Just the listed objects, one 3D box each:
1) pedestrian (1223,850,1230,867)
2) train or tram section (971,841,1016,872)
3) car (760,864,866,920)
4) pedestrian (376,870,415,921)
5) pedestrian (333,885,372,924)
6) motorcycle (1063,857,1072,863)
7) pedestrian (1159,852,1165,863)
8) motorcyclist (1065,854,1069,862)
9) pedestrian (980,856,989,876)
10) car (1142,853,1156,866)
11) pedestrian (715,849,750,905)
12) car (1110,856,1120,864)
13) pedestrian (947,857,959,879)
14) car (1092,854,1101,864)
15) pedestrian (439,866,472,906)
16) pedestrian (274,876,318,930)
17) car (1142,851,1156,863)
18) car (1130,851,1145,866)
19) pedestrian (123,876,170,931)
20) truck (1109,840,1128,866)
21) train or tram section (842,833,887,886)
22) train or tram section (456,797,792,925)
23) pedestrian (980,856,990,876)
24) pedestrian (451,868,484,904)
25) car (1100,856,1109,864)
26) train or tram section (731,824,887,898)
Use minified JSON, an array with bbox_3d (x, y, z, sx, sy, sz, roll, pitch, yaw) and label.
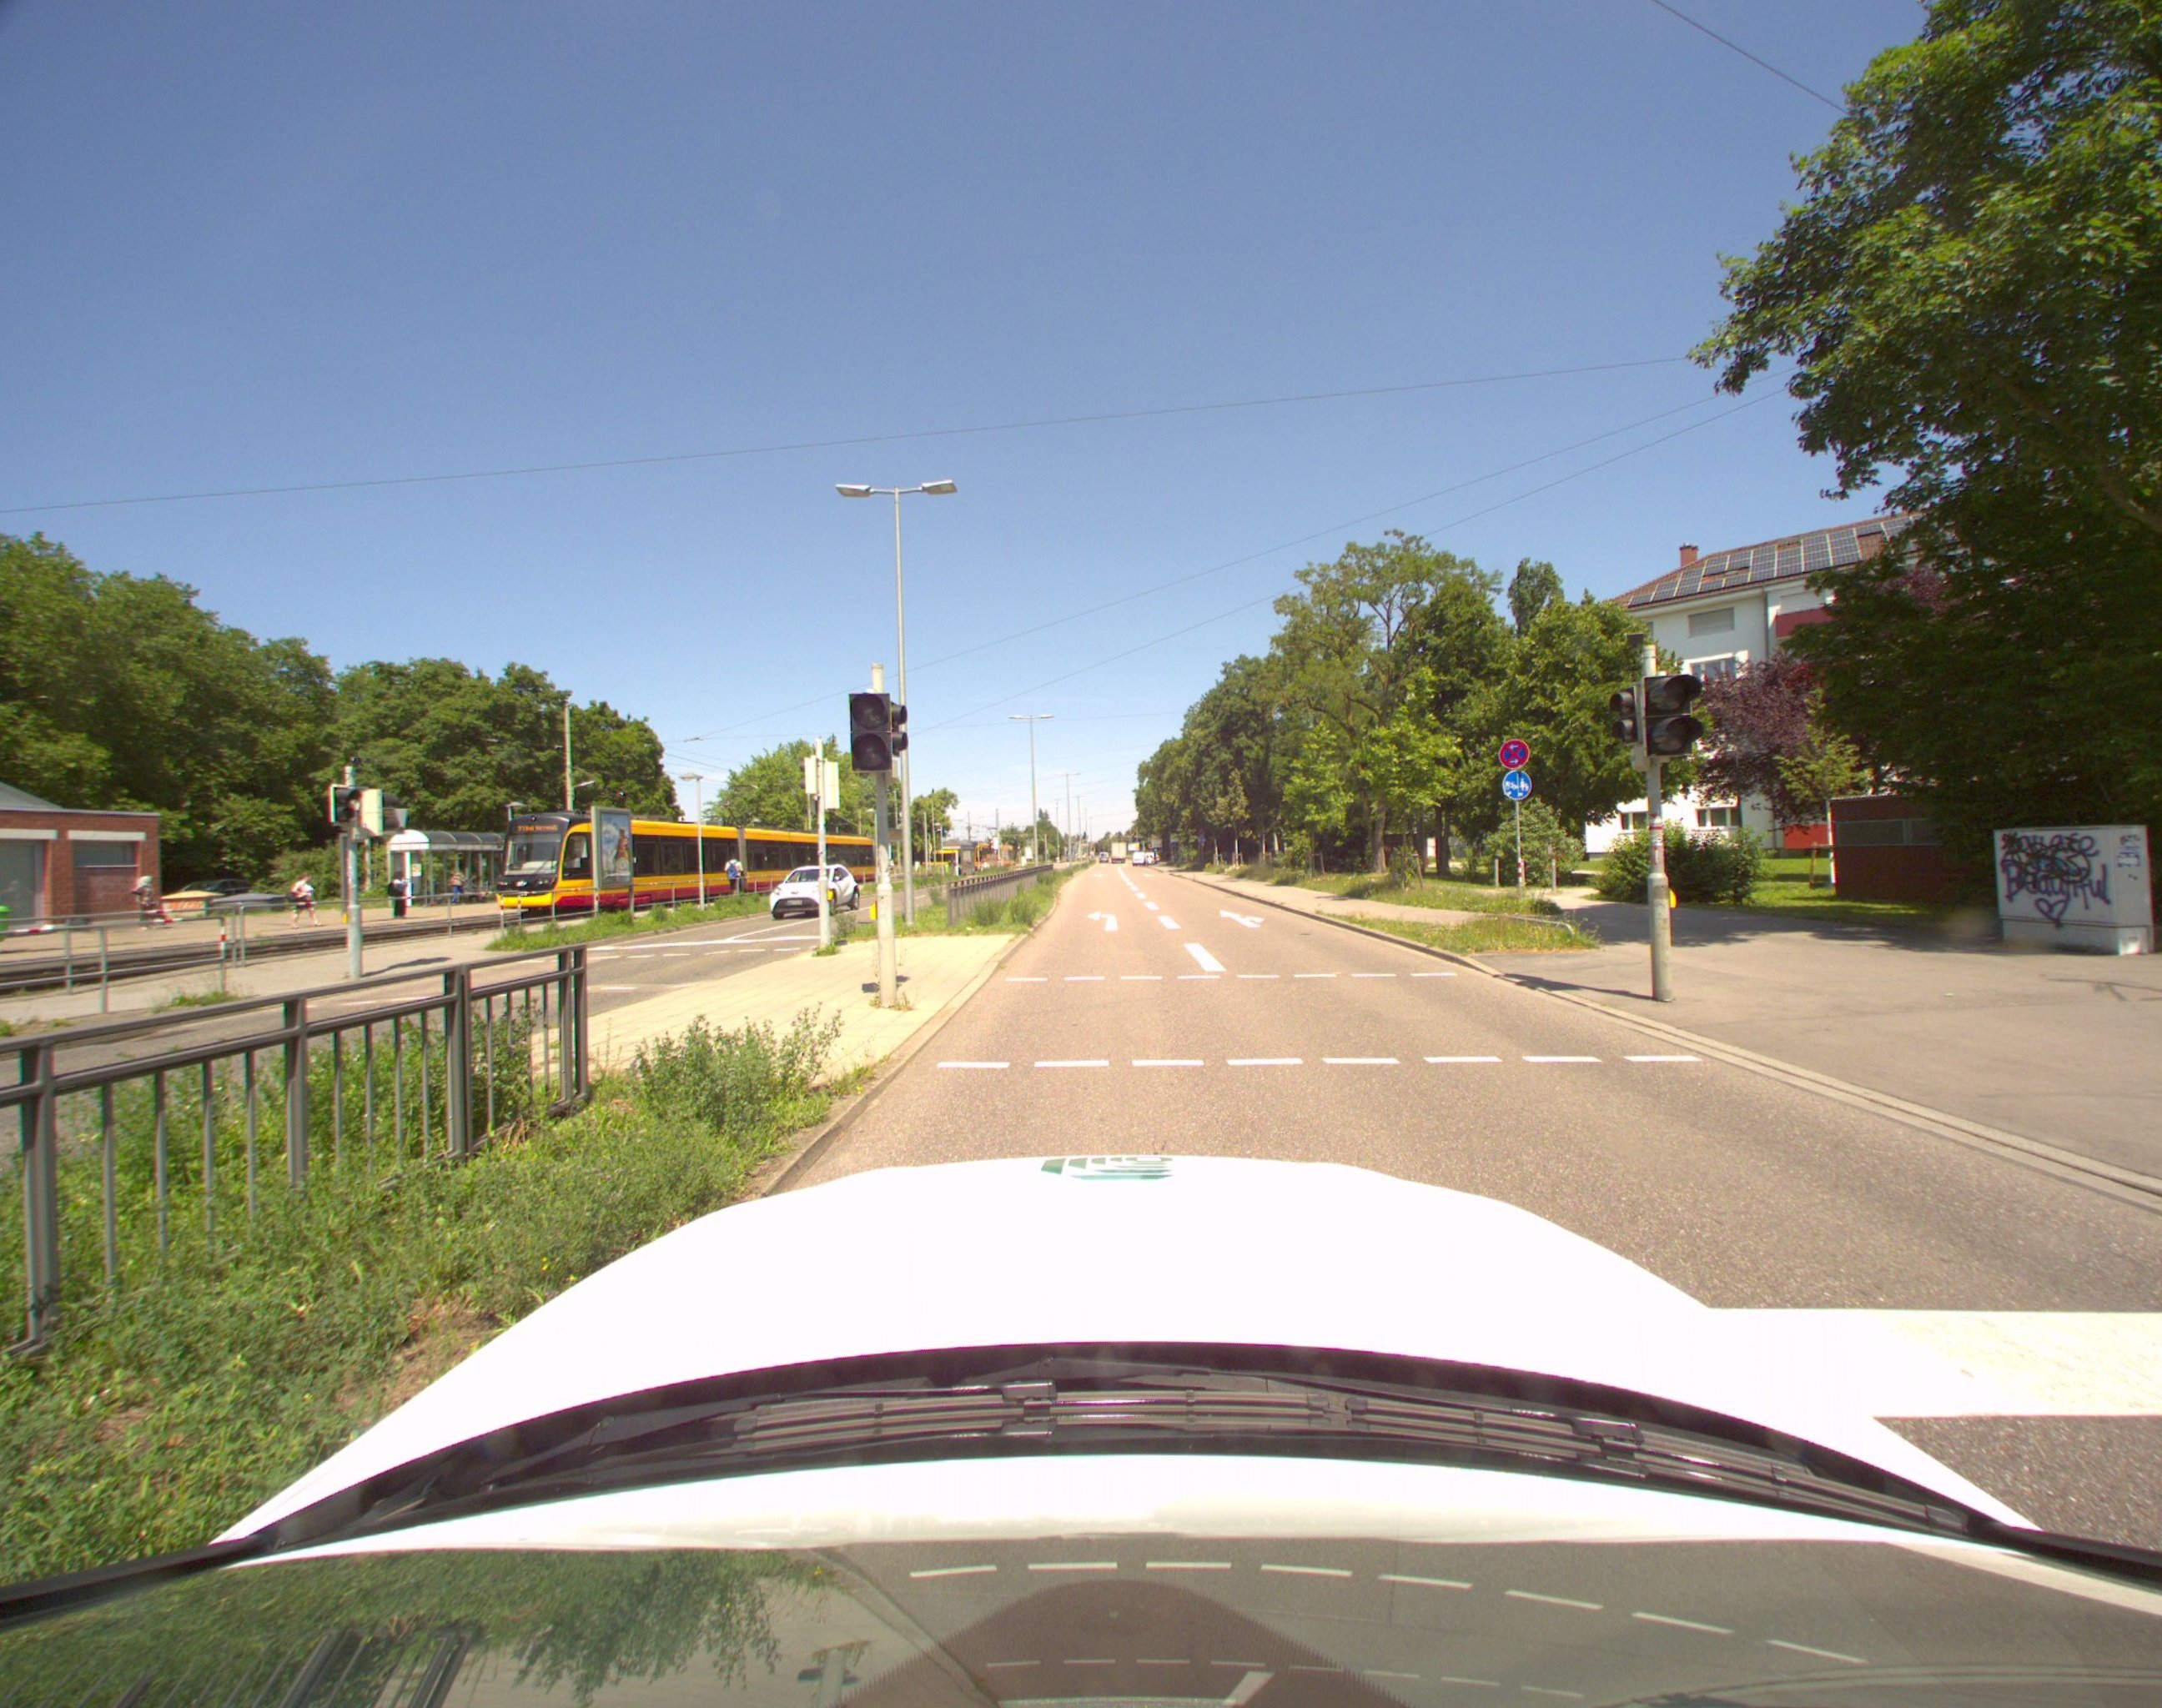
[{"bbox_3d":[12.861,0.385,71.989,0.600,1.438,0.557,-2,0,8],"label":"pedestrian"},{"bbox_3d":[-12.022,0.351,115.963,2.948,3.749,30.029,-2,0,0],"label":"train or tram section"},{"bbox_3d":[-8.090,1.099,24.910,1.838,1.494,3.793,-2,0,2],"label":"car"},{"bbox_3d":[-21.566,1.285,25.625,0.635,1.555,0.691,-2,0,-11],"label":"pedestrian"},{"bbox_3d":[-21.889,1.518,24.482,0.636,1.124,0.570,-2,0,1],"label":"pedestrian"},{"bbox_3d":[-3.341,1.412,198.610,2.183,1.406,0.845,-2,0,-10],"label":"motorcycle"},{"bbox_3d":[16.232,0.682,163.464,1.180,2.013,1.214,-2,0,1],"label":"pedestrian"},{"bbox_3d":[-3.459,0.930,198.620,0.924,1.835,0.847,-2,0,-10],"label":"motorcyclist"},{"bbox_3d":[-10.128,1.255,85.370,0.812,2.013,0.939,-2,0,1],"label":"pedestrian"},{"bbox_3d":[9.389,0.722,112.425,1.773,1.668,4.002,-2,0,2],"label":"car"},{"bbox_3d":[-11.745,0.762,27.463,0.715,1.777,0.843,3,2,1],"label":"pedestrian"},{"bbox_3d":[6.491,1.150,153.693,1.804,1.464,4.002,-2,0,2],"label":"car"},{"bbox_3d":[-10.977,1.203,69.734,0.783,1.868,0.818,-2,0,1],"label":"pedestrian"},{"bbox_3d":[3.330,1.103,175.336,1.986,2.013,4.002,-2,0,2],"label":"car"},{"bbox_3d":[-25.831,1.305,33.640,0.669,1.590,0.808,-2,0,1],"label":"pedestrian"},{"bbox_3d":[-21.938,1.367,22.769,0.636,1.456,0.583,-2,0,1],"label":"pedestrian"},{"bbox_3d":[9.911,0.465,118.766,1.773,1.668,4.002,-2,0,2],"label":"car"},{"bbox_3d":[7.300,0.566,105.543,1.773,1.903,4.002,-2,0,2],"label":"car"},{"bbox_3d":[-25.863,1.365,22.544,0.636,1.480,0.570,-2,0,1],"label":"pedestrian"},{"bbox_3d":[6.775,-0.164,146.141,3.193,4.359,6.563,-2,0,2],"label":"truck"},{"bbox_3d":[-18.622,0.455,71.087,3.220,3.931,18.413,-2,0,-14],"label":"train or tram section"},{"bbox_3d":[-17.677,0.230,34.881,3.203,3.931,18.510,-2,0,2],"label":"train or tram section"},{"bbox_3d":[-9.908,1.242,84.071,0.812,2.013,0.939,-2,0,1],"label":"pedestrian"},{"bbox_3d":[-26.282,1.373,34.901,0.836,1.511,0.723,-2,0,12],"label":"pedestrian"},{"bbox_3d":[4.562,1.177,158.010,1.804,1.464,4.002,-2,0,2],"label":"car"},{"bbox_3d":[-16.927,0.381,53.334,3.203,3.931,18.510,-2,0,2],"label":"train or tram section"}]
